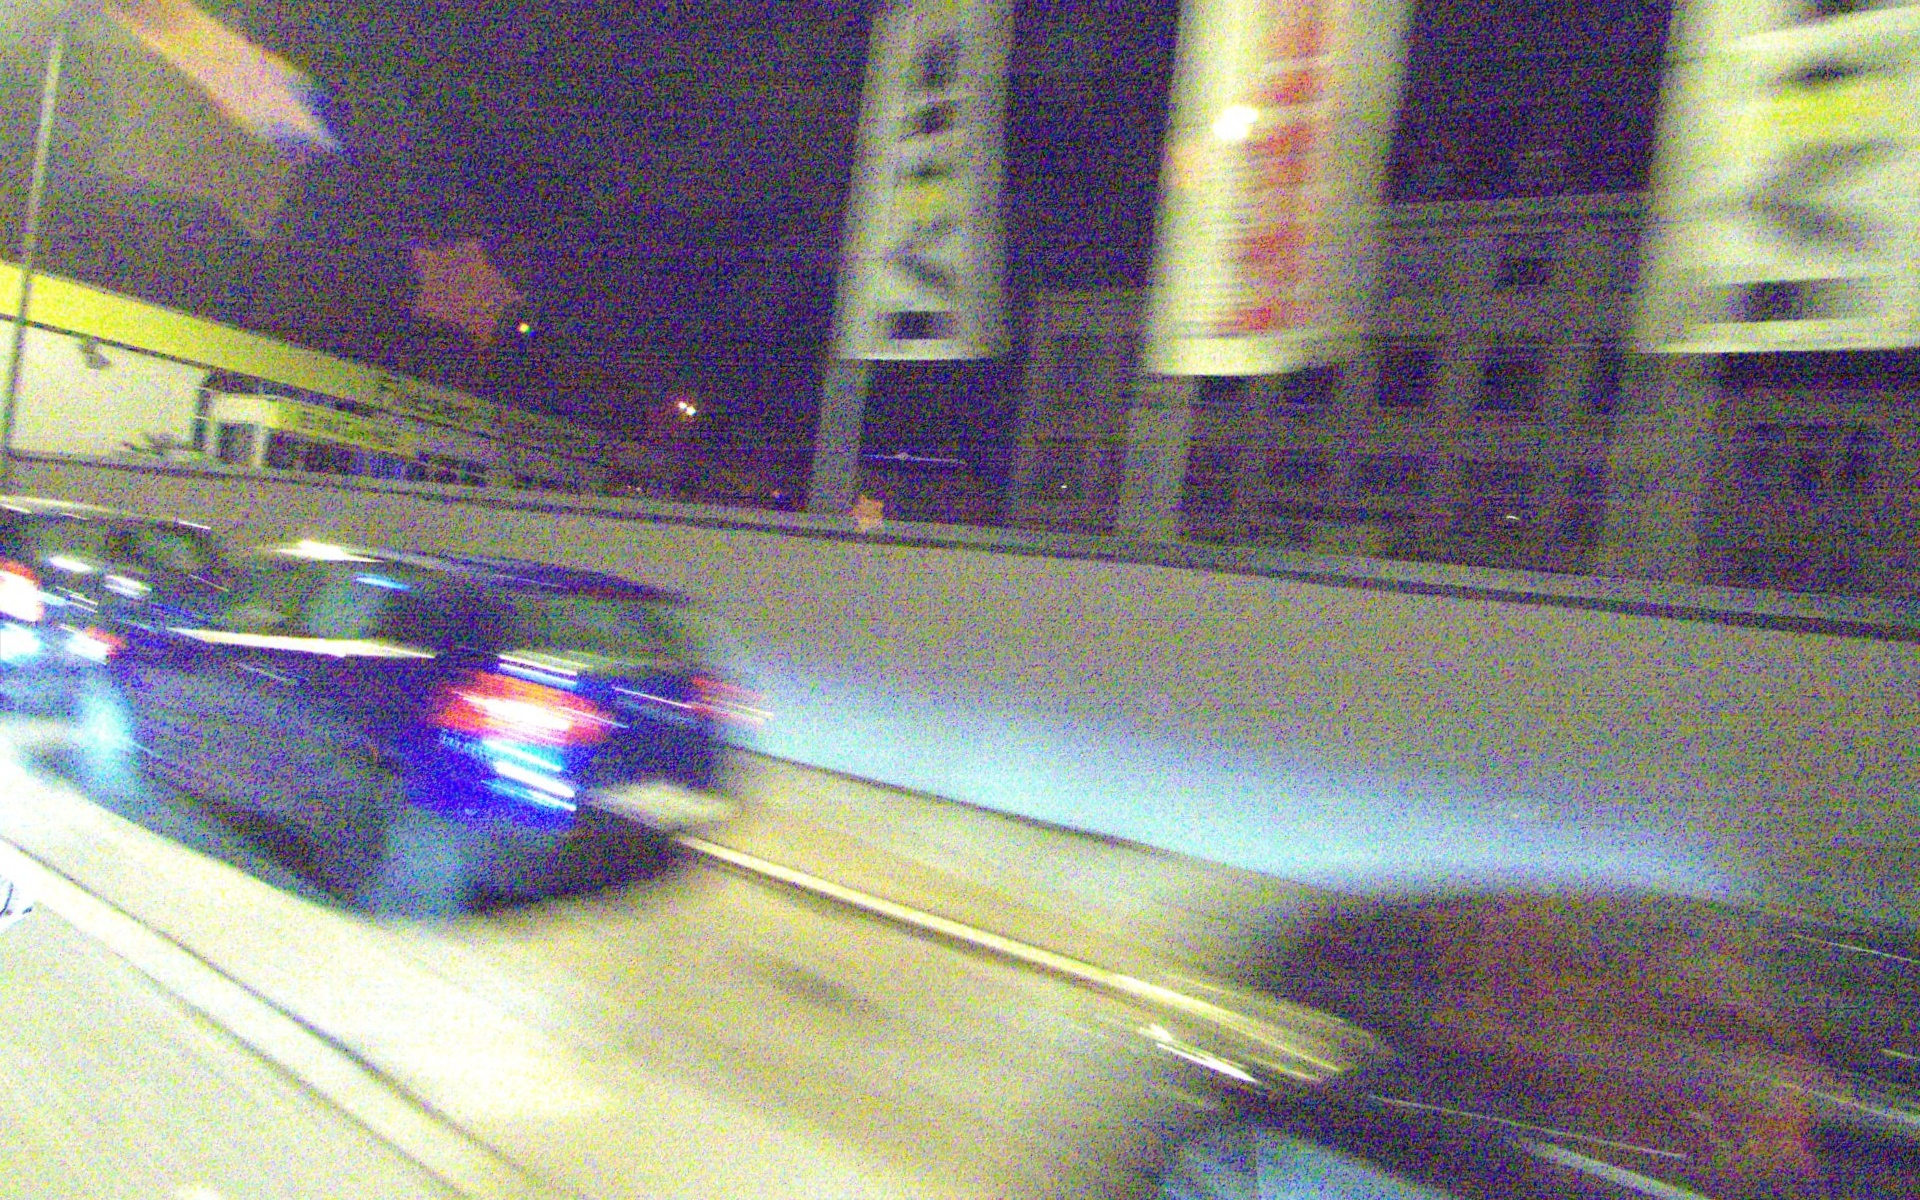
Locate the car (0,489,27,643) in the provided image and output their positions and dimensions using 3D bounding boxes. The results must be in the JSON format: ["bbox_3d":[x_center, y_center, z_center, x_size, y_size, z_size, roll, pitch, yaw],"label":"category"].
[{"bbox_3d":[-11.231,-0.565,10.162,3.827,1.484,1.597,6,-1,32],"label":"car"}]

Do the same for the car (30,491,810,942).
[{"bbox_3d":[-2.919,0.382,5.291,3.826,1.443,1.782,6,-1,30],"label":"car"}]

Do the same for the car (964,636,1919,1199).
[{"bbox_3d":[2.392,1.089,1.940,4.407,1.443,1.781,6,-1,32],"label":"car"}]

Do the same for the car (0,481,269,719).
[{"bbox_3d":[-7.197,-0.109,7.787,3.657,1.484,1.597,6,-1,32],"label":"car"}]
